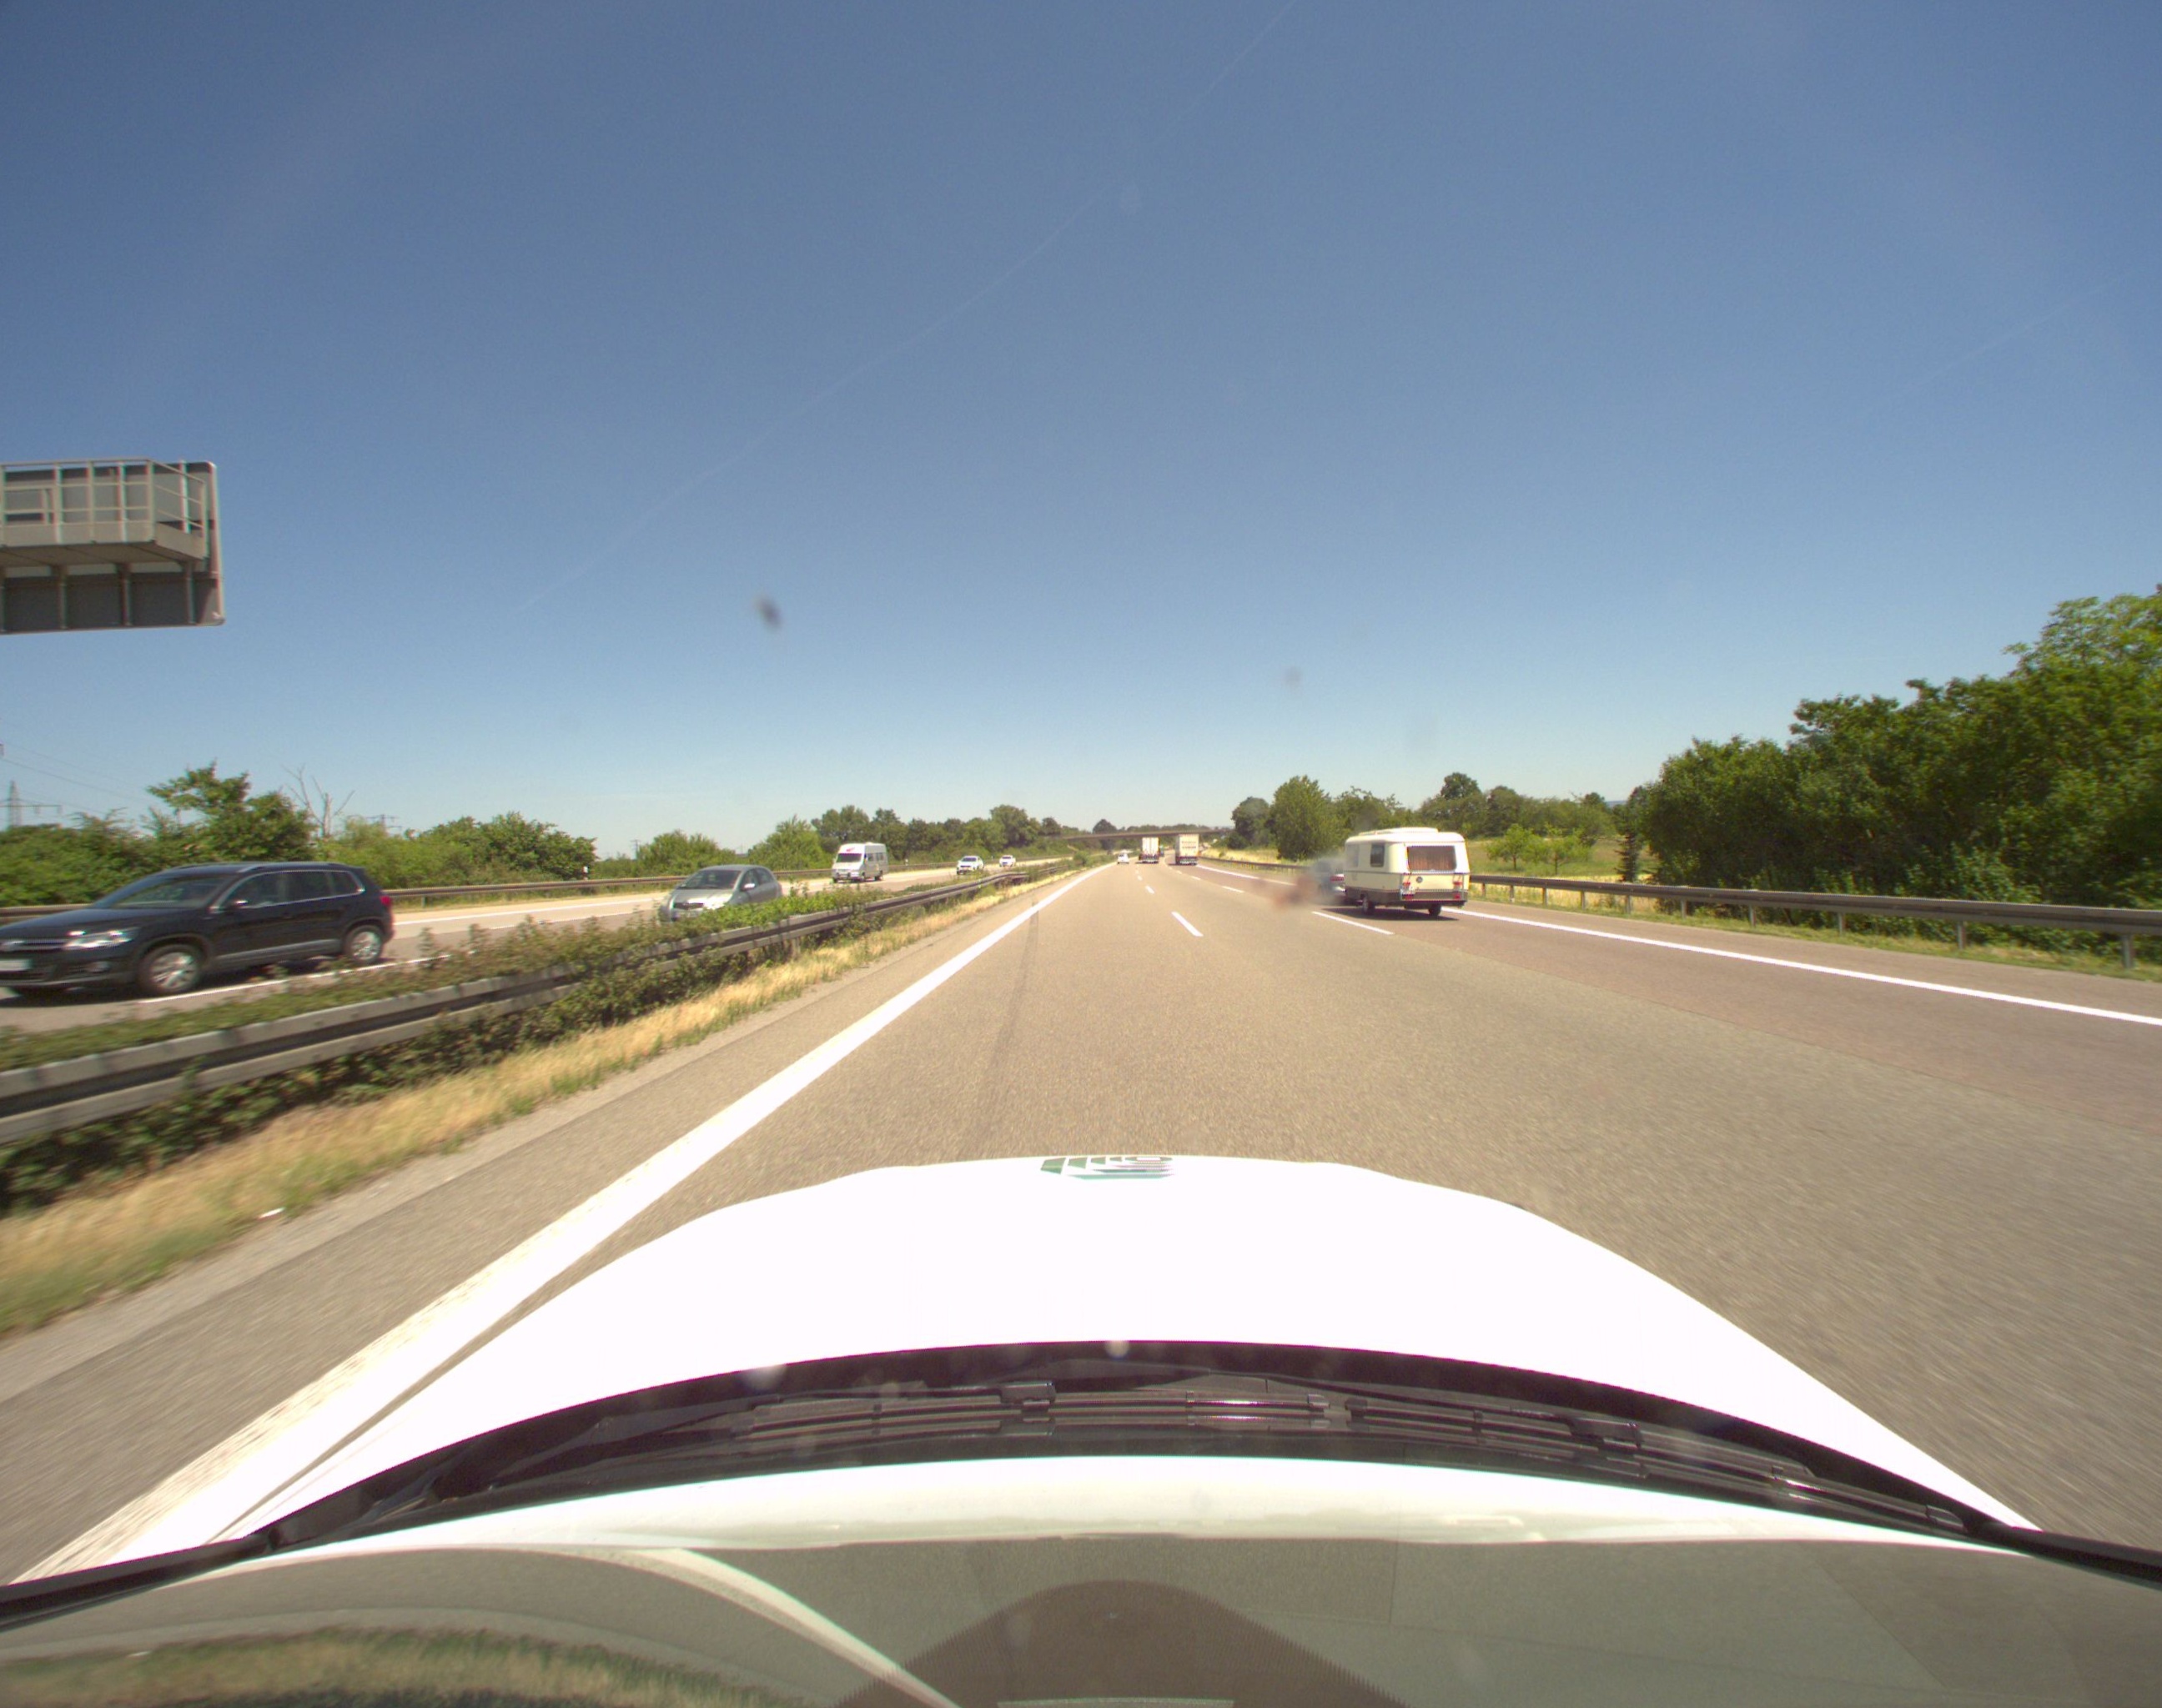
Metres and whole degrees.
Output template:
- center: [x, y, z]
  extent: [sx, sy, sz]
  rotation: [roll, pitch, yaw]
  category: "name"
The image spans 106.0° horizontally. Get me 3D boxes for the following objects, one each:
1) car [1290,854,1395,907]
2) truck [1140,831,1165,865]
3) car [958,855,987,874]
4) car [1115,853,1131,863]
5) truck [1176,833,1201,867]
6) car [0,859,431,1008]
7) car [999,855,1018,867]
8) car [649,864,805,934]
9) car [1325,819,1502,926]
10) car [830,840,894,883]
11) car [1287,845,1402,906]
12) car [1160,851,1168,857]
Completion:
- center: [8.331, 0.776, 26.499]
  extent: [1.880, 1.515, 5.382]
  rotation: [0, 0, 2]
  category: "car"
- center: [11.502, -1.089, 129.167]
  extent: [3.648, 5.018, 16.046]
  rotation: [-1, 1, 6]
  category: "truck"
- center: [-9.812, 0.925, 74.125]
  extent: [1.781, 1.680, 4.904]
  rotation: [-1, 0, 2]
  category: "car"
- center: [6.348, 0.607, 121.920]
  extent: [1.816, 1.547, 4.332]
  rotation: [0, 0, 10]
  category: "car"
- center: [14.755, -0.660, 112.669]
  extent: [3.164, 4.304, 16.048]
  rotation: [-1, 1, 7]
  category: "truck"
- center: [-12.256, 0.942, 11.734]
  extent: [1.986, 1.698, 4.608]
  rotation: [-1, 0, 1]
  category: "car"
- center: [-10.257, 0.997, 115.251]
  extent: [1.738, 1.540, 4.835]
  rotation: [0, 1, 6]
  category: "car"
- center: [-8.450, 1.005, 19.899]
  extent: [1.739, 1.466, 4.253]
  rotation: [-1, 0, 3]
  category: "car"
- center: [8.263, 0.367, 20.942]
  extent: [2.434, 2.321, 5.323]
  rotation: [-2, 1, 1]
  category: "car"
- center: [-14.809, 0.479, 55.501]
  extent: [1.985, 2.686, 7.189]
  rotation: [-1, 0, 4]
  category: "car"
- center: [8.397, 0.599, 26.579]
  extent: [2.038, 1.658, 5.511]
  rotation: [-2, 1, 1]
  category: "car"
- center: [21.531, 0.071, 210.697]
  extent: [1.816, 1.547, 4.332]
  rotation: [0, 0, 10]
  category: "car"
